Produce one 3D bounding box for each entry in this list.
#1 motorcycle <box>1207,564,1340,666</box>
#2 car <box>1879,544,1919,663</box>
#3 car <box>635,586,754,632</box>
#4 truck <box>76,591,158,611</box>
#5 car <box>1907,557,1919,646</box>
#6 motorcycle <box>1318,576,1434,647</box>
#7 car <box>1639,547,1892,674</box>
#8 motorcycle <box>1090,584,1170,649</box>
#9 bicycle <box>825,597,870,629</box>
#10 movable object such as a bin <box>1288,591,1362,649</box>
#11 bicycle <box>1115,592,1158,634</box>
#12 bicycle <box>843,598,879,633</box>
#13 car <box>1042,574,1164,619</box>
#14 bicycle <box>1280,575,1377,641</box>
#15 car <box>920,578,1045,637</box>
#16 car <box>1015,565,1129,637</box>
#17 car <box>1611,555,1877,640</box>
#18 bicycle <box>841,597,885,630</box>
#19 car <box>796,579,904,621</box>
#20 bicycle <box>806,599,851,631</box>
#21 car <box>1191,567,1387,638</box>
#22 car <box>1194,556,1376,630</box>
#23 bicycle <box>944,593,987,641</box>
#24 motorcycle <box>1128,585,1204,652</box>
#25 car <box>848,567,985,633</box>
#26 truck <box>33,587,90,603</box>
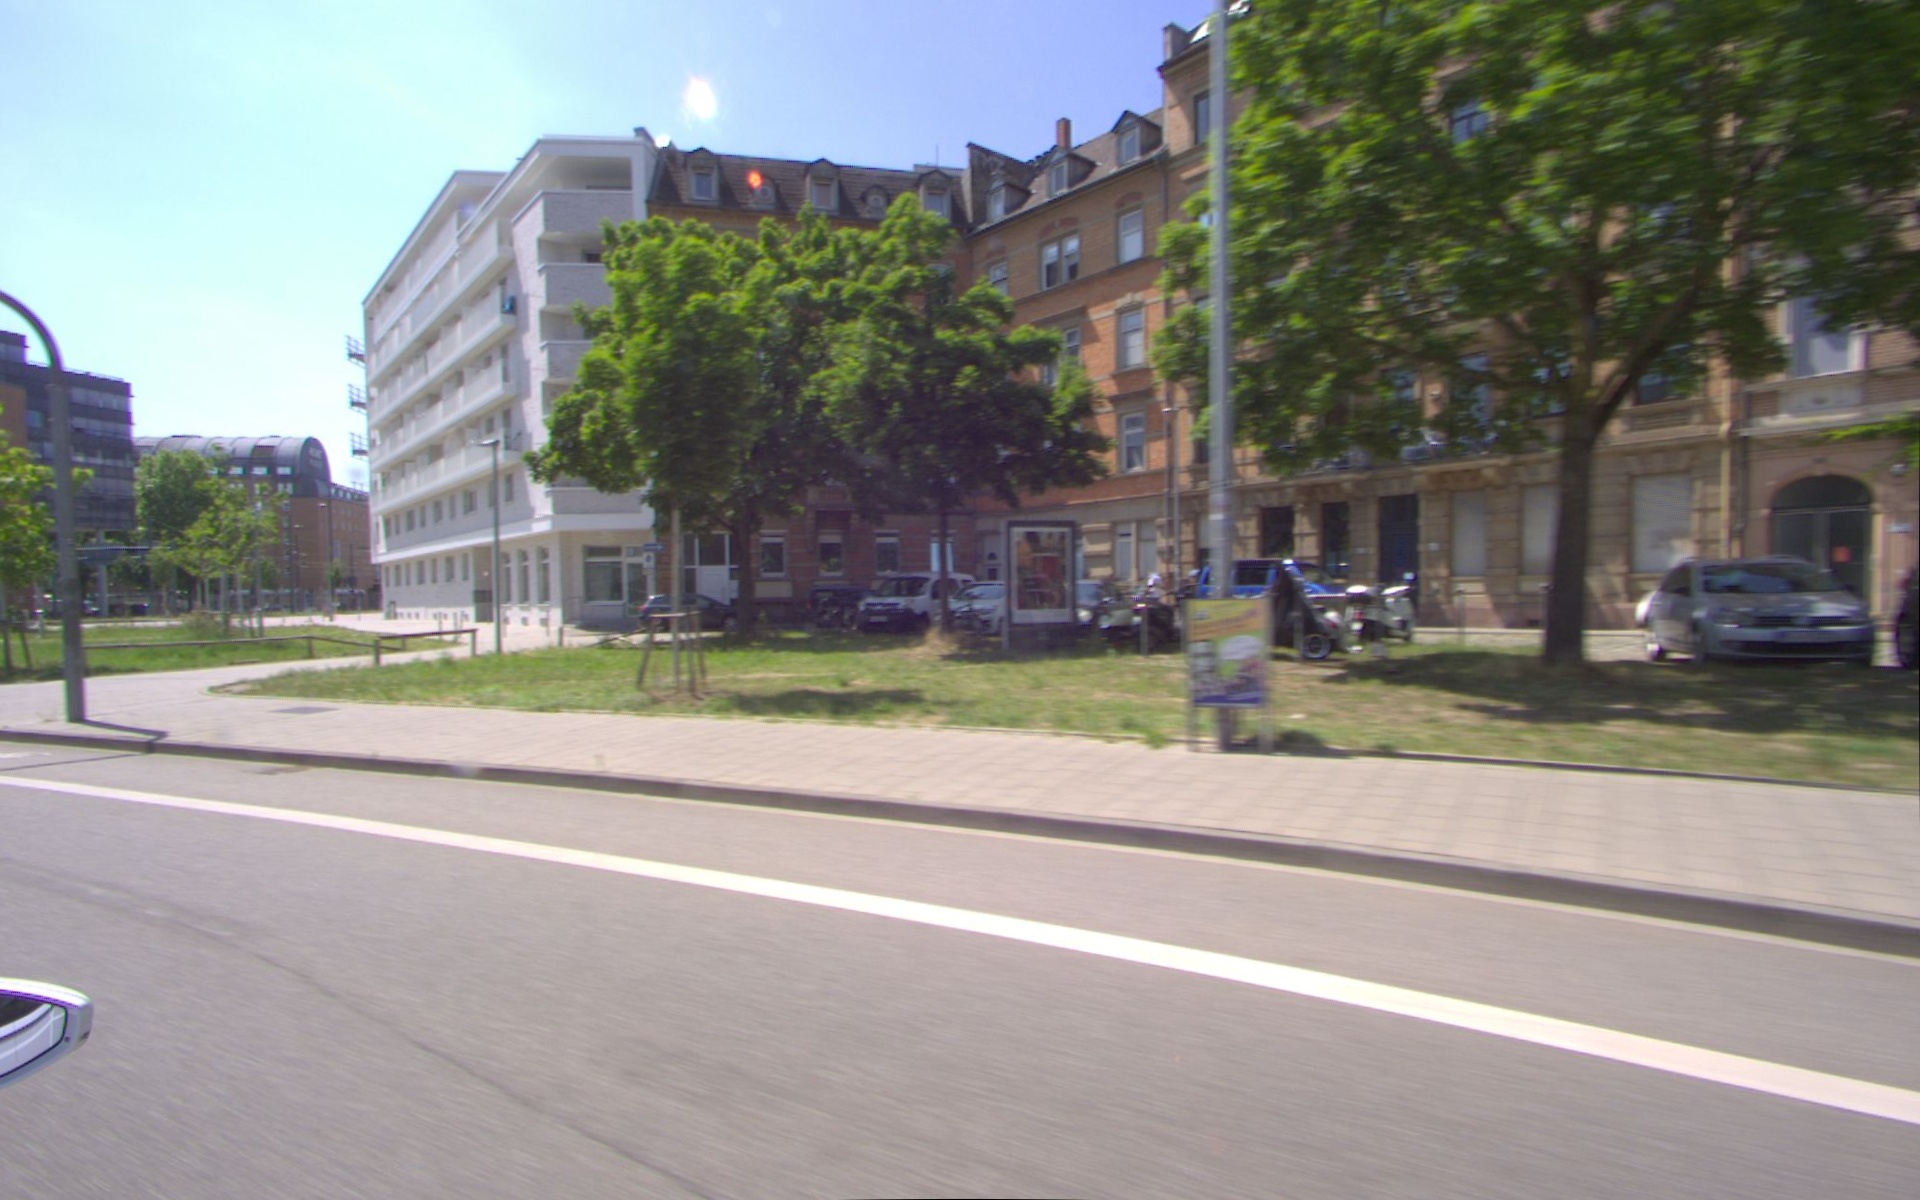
[{"bbox_3d":[4.645,0.201,14.933,0.669,1.432,1.841,-3,2,-38],"label":"motorcycle"},{"bbox_3d":[12.379,0.036,11.213,1.768,1.489,4.081,0,0,23],"label":"car"},{"bbox_3d":[-9.632,0.335,36.562,4.053,1.646,1.694,0,0,-10],"label":"car"},{"bbox_3d":[-118.542,0.141,140.860,9.064,2.846,1.999,0,0,-8],"label":"truck"},{"bbox_3d":[18.686,0.024,16.767,1.823,1.550,3.964,0,0,-41],"label":"car"},{"bbox_3d":[7.707,0.199,18.547,2.052,1.252,0.809,0,1,-24],"label":"motorcycle"},{"bbox_3d":[10.396,0.125,13.291,1.556,1.394,4.335,0,0,24],"label":"car"},{"bbox_3d":[3.140,0.290,18.386,0.522,1.135,1.812,1,0,43],"label":"motorcycle"},{"bbox_3d":[-3.407,0.394,30.511,0.499,0.948,2.046,0,0,20],"label":"bicycle"},{"bbox_3d":[6.159,0.330,16.909,0.974,0.949,0.698,0,0,-28],"label":"movable object such as a bin"},{"bbox_3d":[3.597,0.264,20.504,0.489,0.816,1.456,0,0,-5],"label":"bicycle"},{"bbox_3d":[-2.773,0.419,28.299,0.498,0.948,2.427,0,0,7],"label":"bicycle"},{"bbox_3d":[4.818,-0.102,34.195,1.758,1.439,3.965,0,0,-41],"label":"car"},{"bbox_3d":[7.266,0.154,19.709,2.055,1.252,0.628,0,0,-30],"label":"bicycle"},{"bbox_3d":[0.651,0.181,24.820,1.729,1.350,3.989,0,0,23],"label":"car"},{"bbox_3d":[2.567,0.030,22.218,1.579,1.451,3.859,0,0,21],"label":"car"},{"bbox_3d":[15.843,-0.029,20.407,1.820,1.550,3.969,0,0,-38],"label":"car"},{"bbox_3d":[-2.908,0.393,30.205,0.499,0.948,2.046,0,0,20],"label":"bicycle"},{"bbox_3d":[-4.259,0.026,38.382,4.005,1.550,1.776,0,0,-11],"label":"car"},{"bbox_3d":[-3.989,0.441,30.598,0.499,0.948,2.046,0,0,20],"label":"bicycle"},{"bbox_3d":[7.084,0.053,21.519,3.945,1.394,1.945,0,0,-32],"label":"car"},{"bbox_3d":[9.086,-0.173,28.306,1.904,1.929,4.615,0,0,-39],"label":"car"},{"bbox_3d":[0.105,0.345,20.713,0.468,0.960,1.368,0,0,-19],"label":"bicycle"},{"bbox_3d":[3.617,0.319,17.536,1.508,1.135,0.474,0,0,-40],"label":"motorcycle"},{"bbox_3d":[-1.040,0.021,27.161,1.805,1.622,4.861,0,0,23],"label":"car"},{"bbox_3d":[-118.394,-0.600,131.961,5.281,2.040,1.880,0,0,-12],"label":"truck"}]
